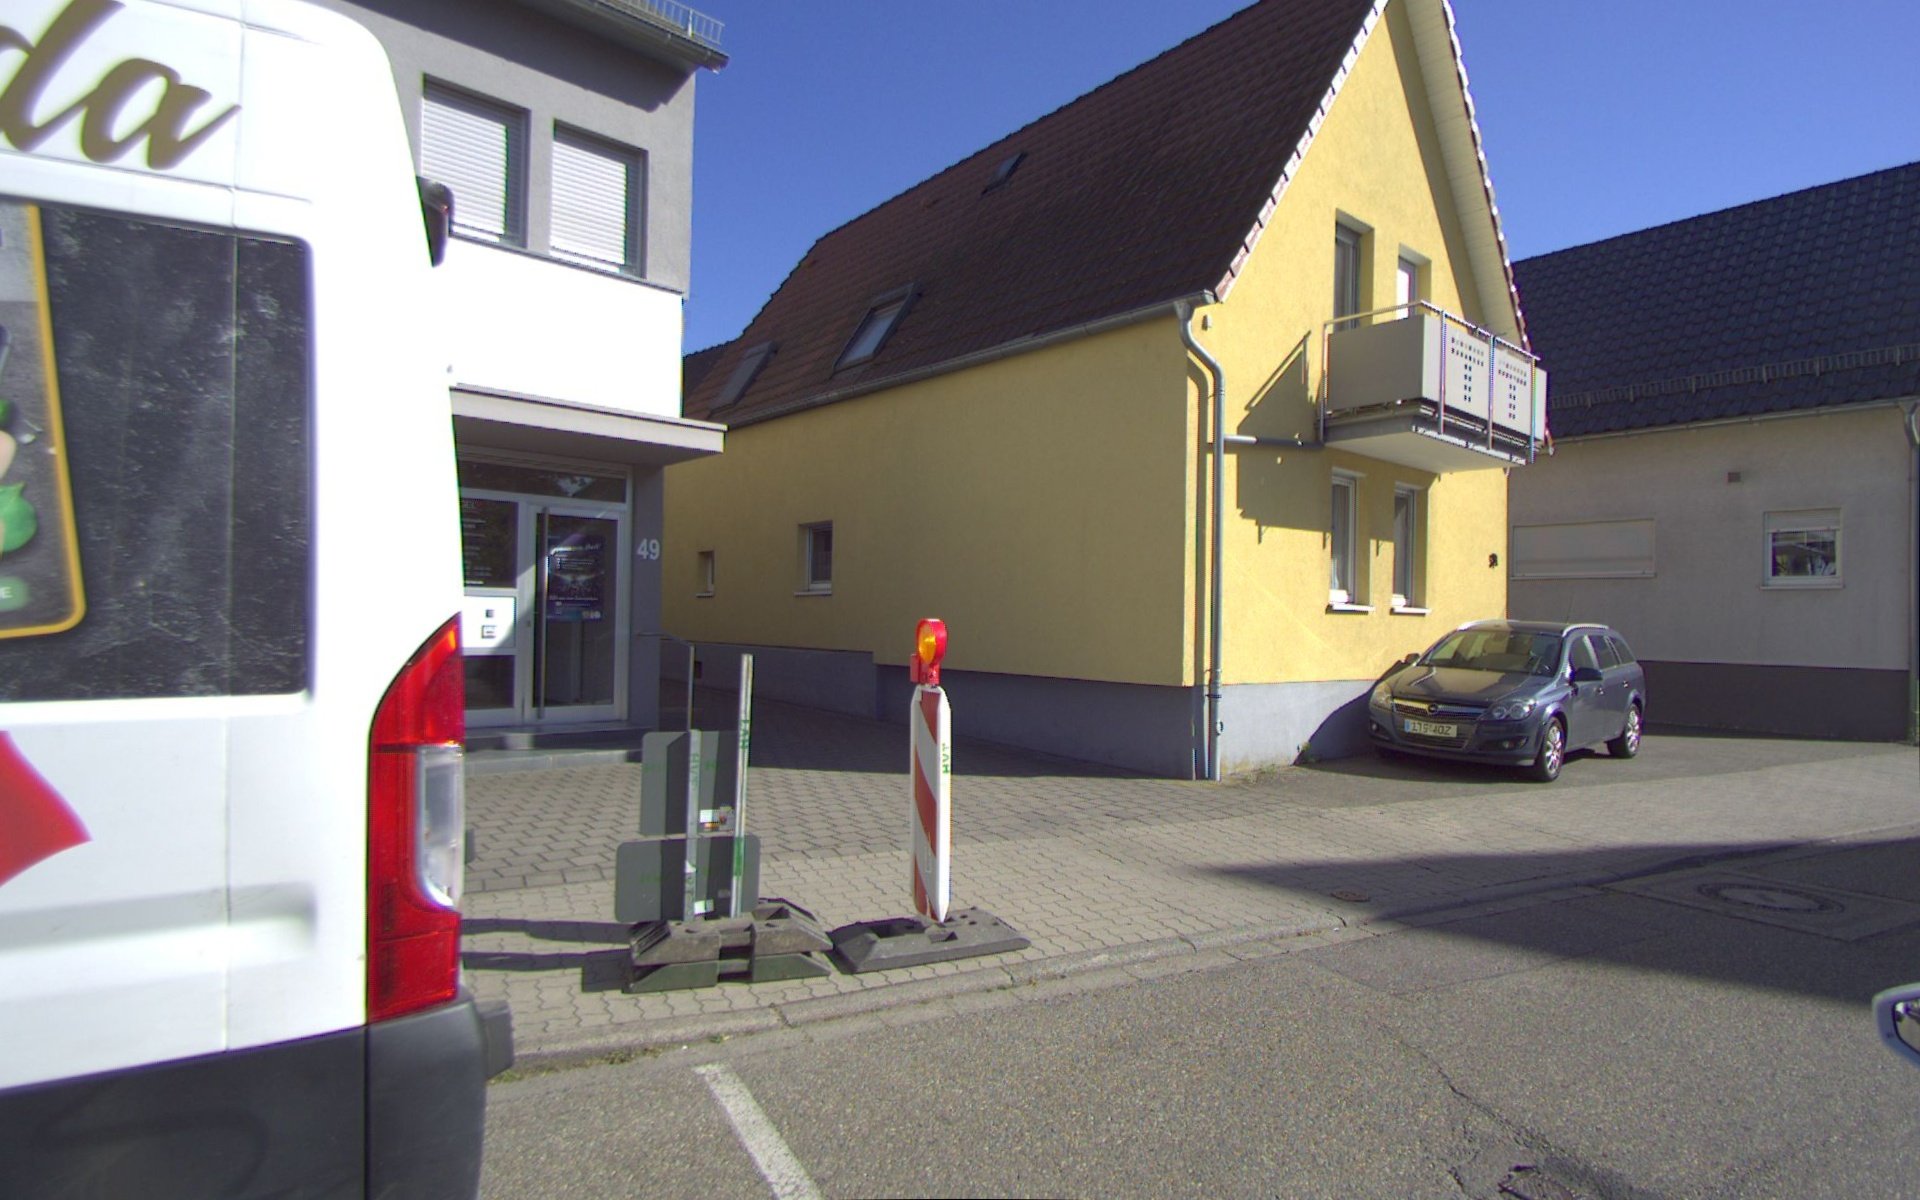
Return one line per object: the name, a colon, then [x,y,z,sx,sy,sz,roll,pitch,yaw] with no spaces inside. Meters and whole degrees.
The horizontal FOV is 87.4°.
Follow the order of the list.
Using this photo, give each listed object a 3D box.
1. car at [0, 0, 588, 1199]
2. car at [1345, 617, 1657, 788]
car: [-3.465,0.202,1.177,5.446,2.503,2.244,1,-2,-28]
car: [5.990,0.968,10.895,4.145,1.464,1.673,2,-1,-42]
